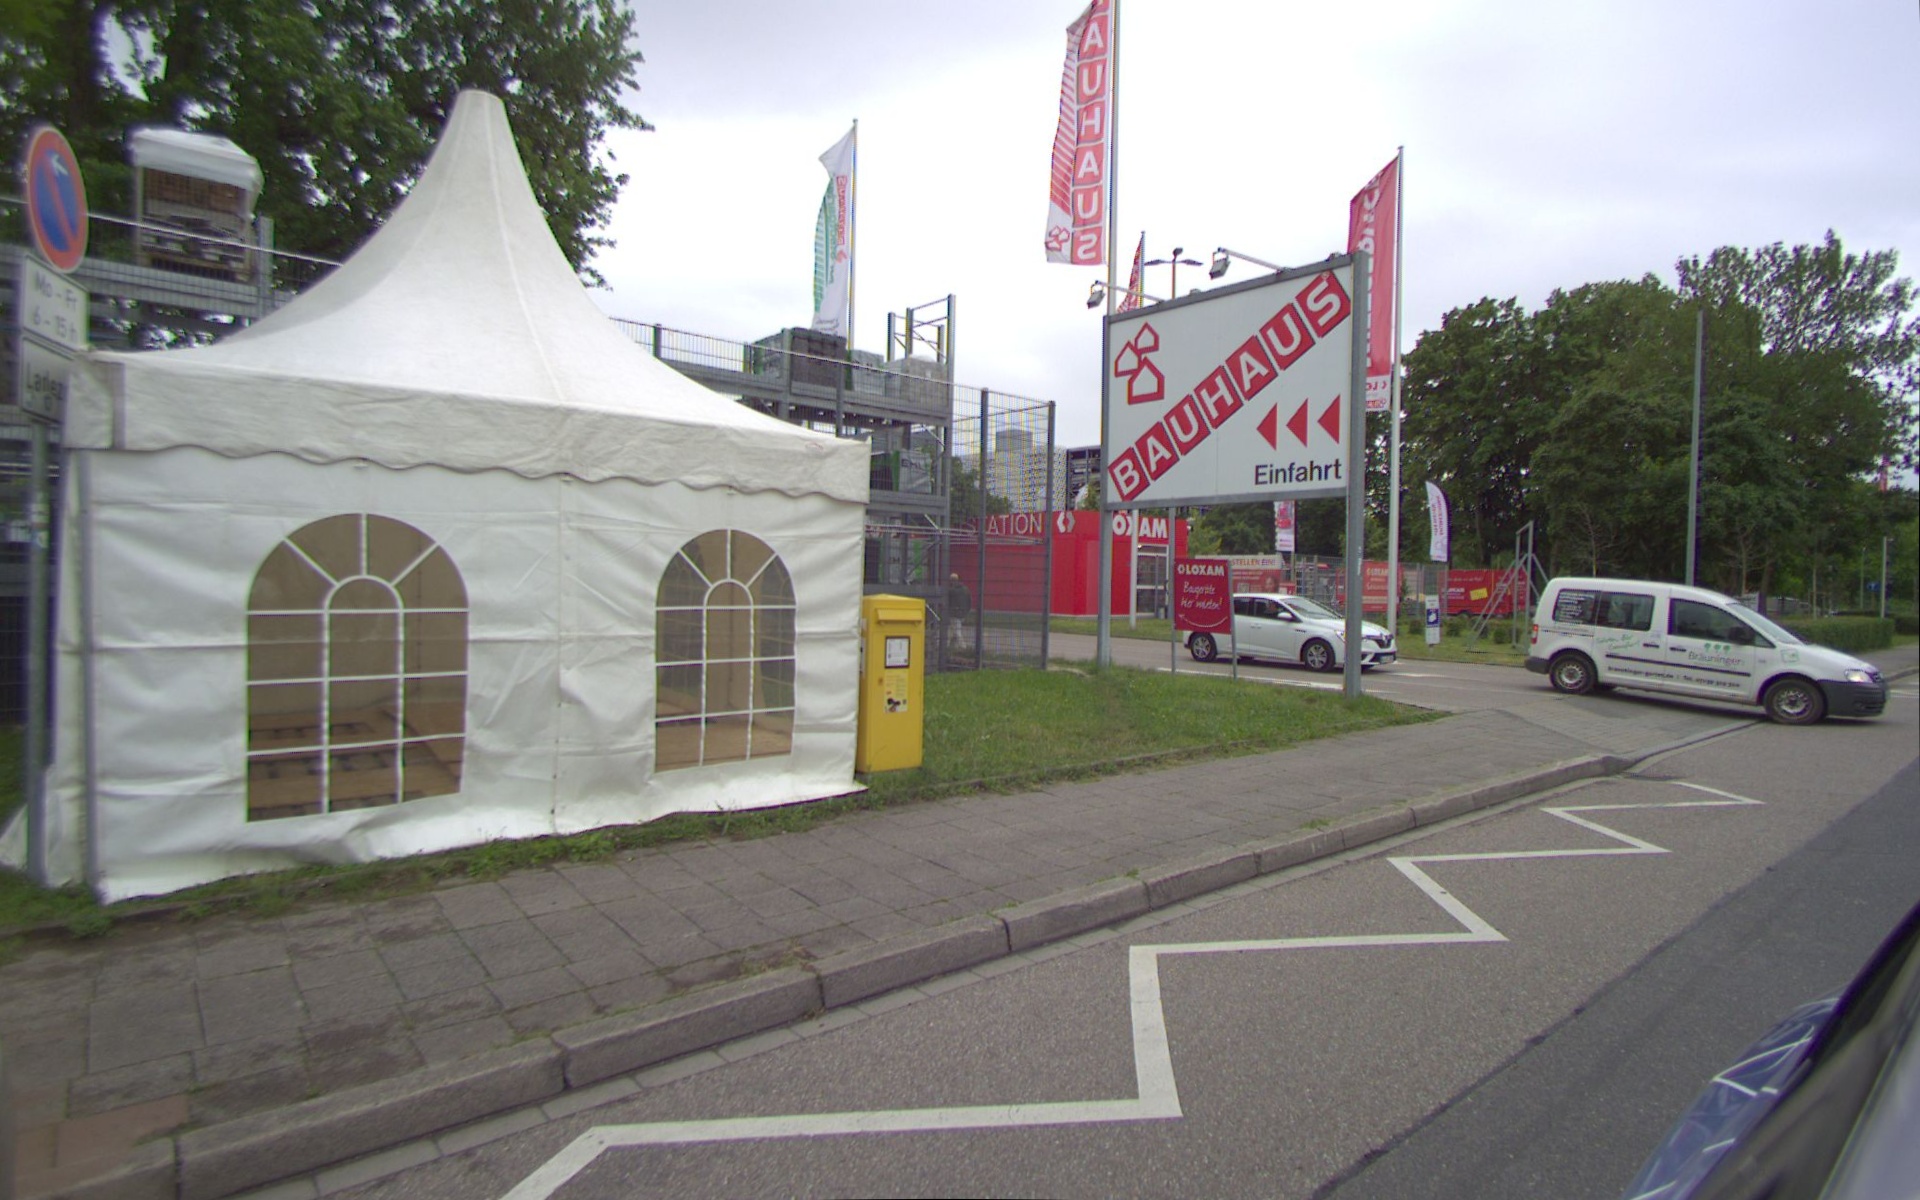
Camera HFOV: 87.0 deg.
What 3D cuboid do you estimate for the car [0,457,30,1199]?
[{"bbox_3d":[-3.272,0.604,0.211,4.400,1.763,1.912,0,-2,-40],"label":"car"}]

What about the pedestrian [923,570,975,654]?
[{"bbox_3d":[-0.251,0.245,22.100,0.727,1.765,0.870,1,1,-37],"label":"pedestrian"}]

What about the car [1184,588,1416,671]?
[{"bbox_3d":[6.620,0.498,20.062,1.699,1.438,4.112,0,1,-39],"label":"car"}]

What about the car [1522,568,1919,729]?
[{"bbox_3d":[10.999,0.556,14.867,1.769,1.829,4.379,0,4,-41],"label":"car"}]

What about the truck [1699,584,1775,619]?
[{"bbox_3d":[56.462,0.109,73.606,3.924,2.426,2.000,1,1,0],"label":"truck"}]
